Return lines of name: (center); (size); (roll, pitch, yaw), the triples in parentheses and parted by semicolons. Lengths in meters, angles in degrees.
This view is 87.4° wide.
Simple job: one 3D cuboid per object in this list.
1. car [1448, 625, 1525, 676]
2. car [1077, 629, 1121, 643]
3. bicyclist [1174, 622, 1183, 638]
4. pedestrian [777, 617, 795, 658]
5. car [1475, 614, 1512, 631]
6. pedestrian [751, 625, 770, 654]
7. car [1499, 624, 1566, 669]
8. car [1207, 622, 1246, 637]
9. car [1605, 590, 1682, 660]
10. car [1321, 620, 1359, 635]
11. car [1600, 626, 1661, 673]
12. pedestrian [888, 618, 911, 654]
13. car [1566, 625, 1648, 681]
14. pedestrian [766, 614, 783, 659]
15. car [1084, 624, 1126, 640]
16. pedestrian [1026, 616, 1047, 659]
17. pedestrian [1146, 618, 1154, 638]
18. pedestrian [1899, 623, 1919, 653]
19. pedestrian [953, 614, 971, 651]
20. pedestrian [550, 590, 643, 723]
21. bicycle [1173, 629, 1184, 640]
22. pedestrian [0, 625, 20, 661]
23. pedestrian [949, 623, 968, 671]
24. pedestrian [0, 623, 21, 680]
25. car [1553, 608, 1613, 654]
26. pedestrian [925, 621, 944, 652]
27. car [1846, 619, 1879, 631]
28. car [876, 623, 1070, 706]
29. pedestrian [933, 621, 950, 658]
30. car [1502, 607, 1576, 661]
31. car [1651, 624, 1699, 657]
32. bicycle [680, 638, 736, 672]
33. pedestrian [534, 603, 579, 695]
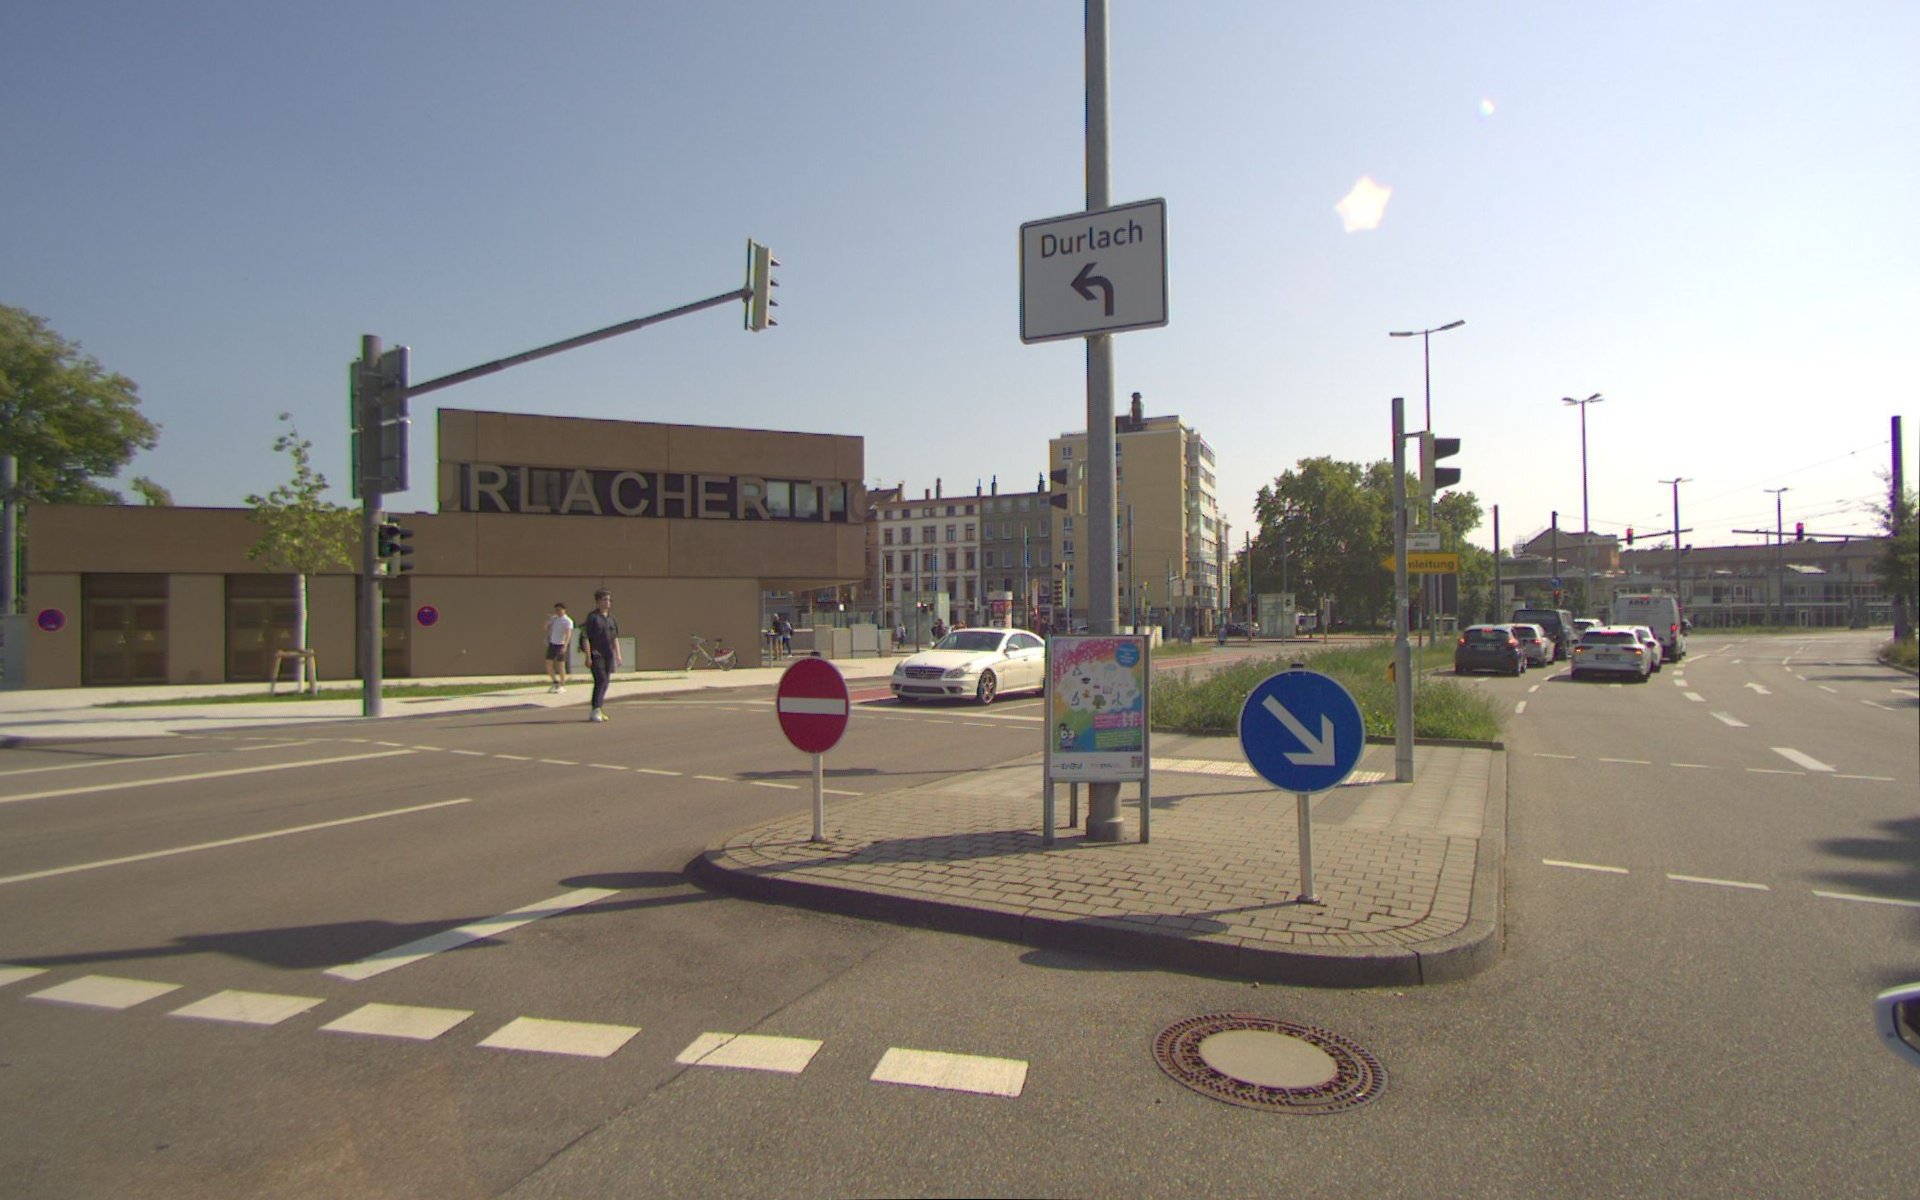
car: (15.603, 1.439, 29.684); (1.678, 1.386, 3.953); (-1, -2, 33)
car: (12.794, 3.315, 92.411); (3.771, 1.195, 1.575); (-1, -4, 27)
bicyclist: (18.862, 2.589, 86.673); (0.714, 1.453, 0.690); (-1, -1, 19)
pedestrian: (-7.552, 1.628, 43.592); (0.600, 1.718, 0.528); (-2, 1, -33)
car: (67.926, 2.853, 127.841); (3.933, 2.041, 1.994); (-1, 1, 35)
pedestrian: (-10.950, 2.160, 55.107); (0.790, 1.612, 0.685); (1, -1, -37)
car: (19.699, 1.563, 34.511); (1.471, 1.434, 3.632); (-1, -1, 38)
car: (29.758, 3.324, 112.246); (3.924, 1.579, 1.867); (-1, 1, 24)
car: (26.929, 1.001, 39.515); (2.162, 2.583, 4.664); (-1, -2, 39)
car: (44.291, 3.189, 117.100); (3.927, 1.639, 1.811); (-1, -2, 27)
car: (21.819, 1.576, 32.625); (1.470, 1.421, 3.928); (-1, -2, 36)
pedestrian: (-3.486, 2.082, 58.232); (0.943, 2.041, 1.021); (-1, 1, 24)
car: (17.715, 1.401, 27.440); (1.663, 1.406, 3.621); (-1, -2, 36)
pedestrian: (-7.759, 1.522, 41.981); (0.553, 1.843, 0.388); (-2, 2, -41)
car: (13.765, 3.037, 95.306); (3.678, 1.411, 1.586); (-1, -2, 24)
pedestrian: (3.319, 1.617, 43.520); (0.831, 1.802, 0.877); (-1, 1, 6)
pedestrian: (16.467, 2.384, 86.998); (0.448, 1.707, 0.545); (0, 1, 35)
pedestrian: (44.135, 1.772, 46.648); (0.627, 1.380, 0.632); (-1, -1, 33)
pedestrian: (0.097, 1.685, 51.974); (0.864, 1.843, 0.895); (-1, 1, -4)
pedestrian: (-5.328, 0.805, 14.741); (1.063, 1.864, 0.729); (0, -1, 28)
bicycle: (18.834, 2.977, 86.590); (0.715, 0.997, 1.732); (-1, -1, 19)
pedestrian: (-38.607, 1.736, 40.726); (0.560, 1.441, 0.467); (-2, 1, -21)
pedestrian: (-0.046, 1.746, 37.408); (0.665, 1.783, 0.879); (-1, -1, 3)
pedestrian: (-30.844, 1.665, 32.520); (0.585, 1.825, 0.331); (0, -1, -27)
car: (29.023, 1.420, 46.742); (1.998, 2.034, 4.666); (-1, -2, 37)
pedestrian: (-1.506, 2.155, 59.555); (0.819, 1.843, 0.778); (0, -2, 23)
car: (111.371, 3.050, 123.947); (3.953, 1.461, 1.984); (0, -2, -30)
car: (0.425, 1.179, 19.787); (1.814, 1.379, 4.812); (-1, -1, 28)
pedestrian: (-0.827, 1.745, 44.270); (0.491, 1.601, 0.505); (0, 1, 38)
car: (23.490, 1.359, 40.670); (1.998, 2.034, 4.665); (-1, -2, 37)
car: (32.438, 1.817, 45.532); (1.617, 1.422, 3.672); (-1, -2, 38)
bicycle: (-7.703, 1.662, 30.697); (1.590, 0.968, 0.657); (0, 0, -24)
pedestrian: (-8.303, 1.003, 20.665); (0.683, 1.857, 0.569); (-1, -1, 34)
